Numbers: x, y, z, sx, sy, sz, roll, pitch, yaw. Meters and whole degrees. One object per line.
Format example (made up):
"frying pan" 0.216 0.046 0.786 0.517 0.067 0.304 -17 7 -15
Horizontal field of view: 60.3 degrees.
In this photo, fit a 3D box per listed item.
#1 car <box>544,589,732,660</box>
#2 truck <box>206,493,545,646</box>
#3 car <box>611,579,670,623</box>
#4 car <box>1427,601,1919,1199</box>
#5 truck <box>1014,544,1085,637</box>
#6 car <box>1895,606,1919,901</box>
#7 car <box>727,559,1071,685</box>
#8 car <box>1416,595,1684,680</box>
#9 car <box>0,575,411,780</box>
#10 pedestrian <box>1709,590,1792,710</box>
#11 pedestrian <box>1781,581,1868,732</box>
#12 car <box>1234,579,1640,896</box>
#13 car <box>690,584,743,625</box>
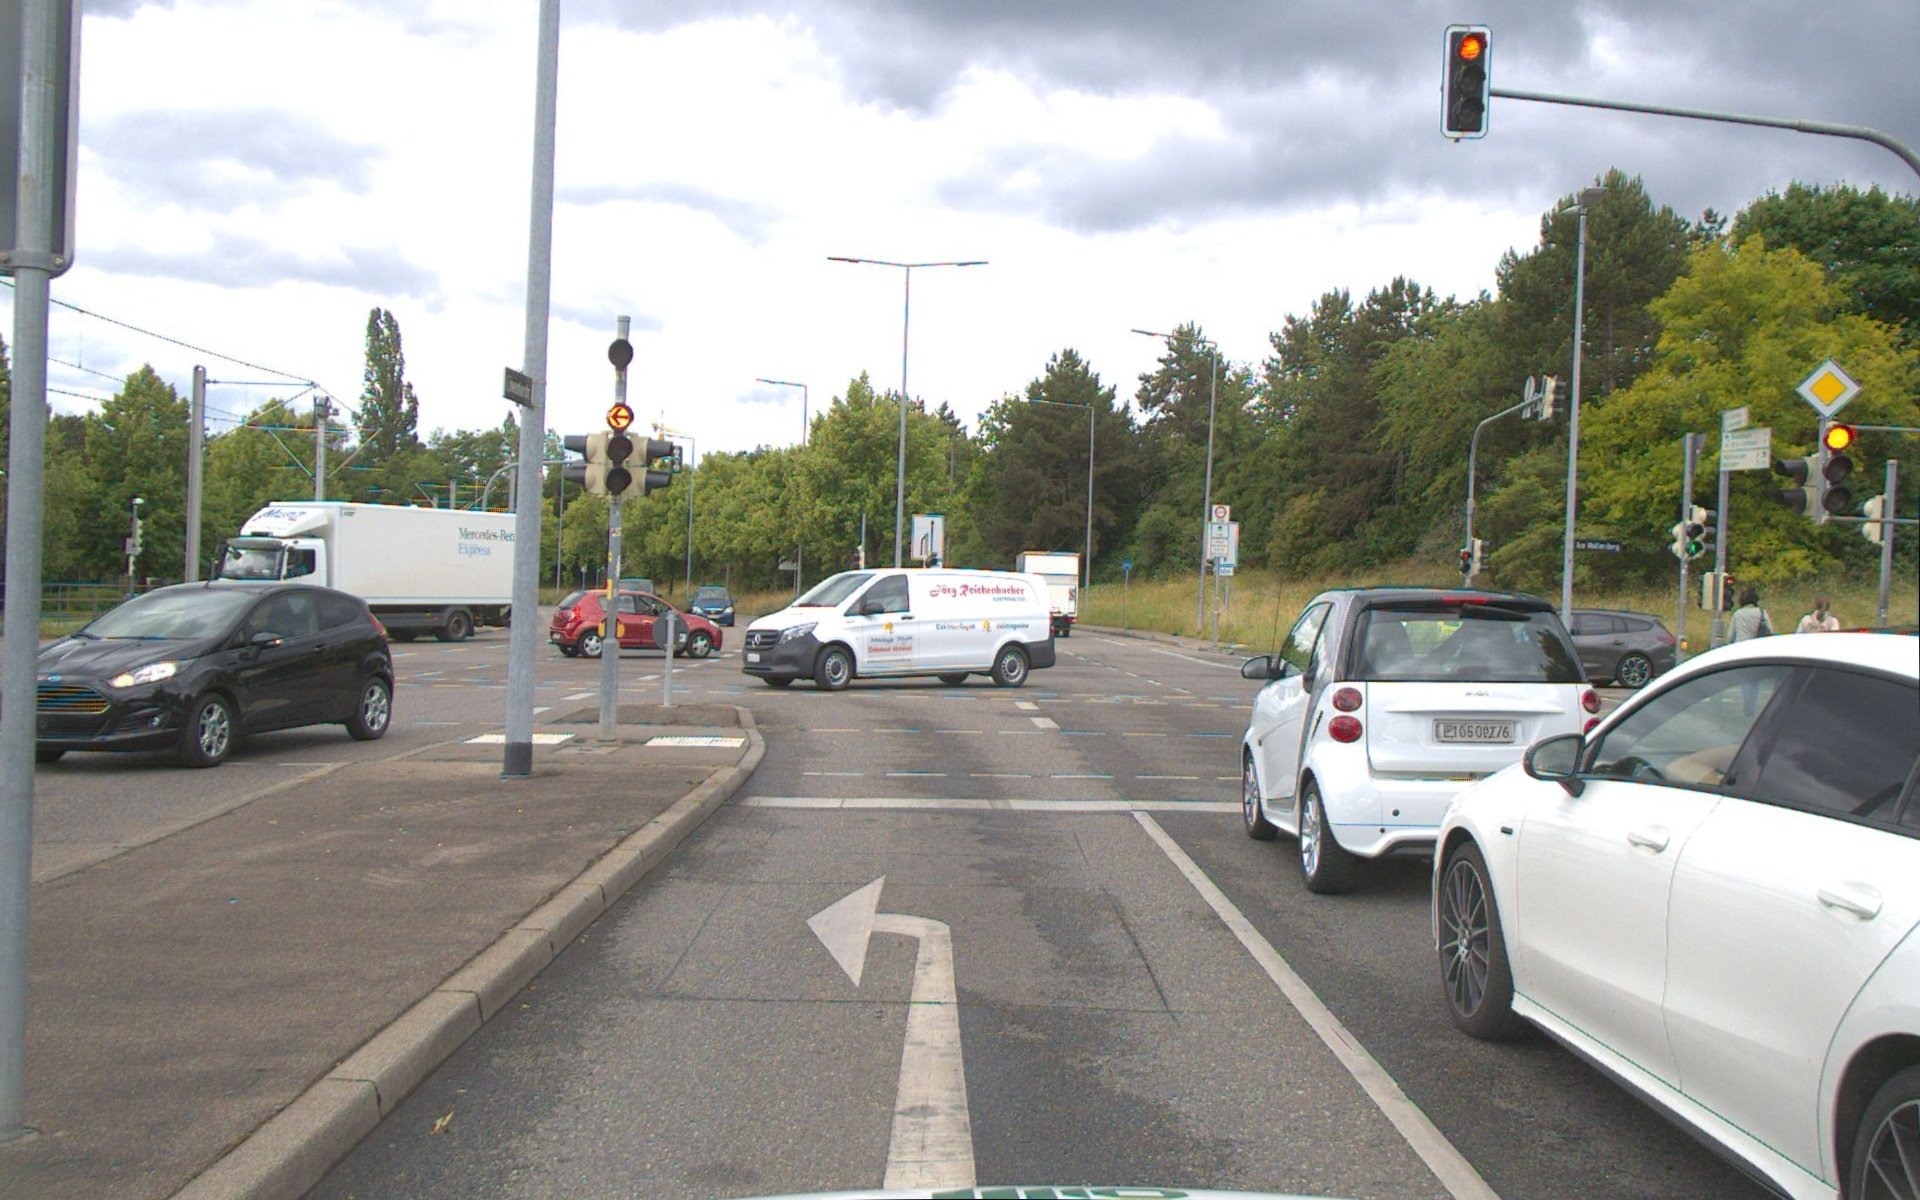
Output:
"car" -7.419 0.547 38.169 3.945 1.543 1.715 0 1 -30
"truck" -15.502 -0.724 44.936 2.608 3.713 9.492 1 0 26
"car" -13.326 0.017 69.191 1.877 1.758 3.998 1 1 -3
"car" 2.627 0.753 4.062 1.686 1.446 4.356 1 0 -1
"truck" 3.678 -0.408 69.538 2.628 3.661 7.264 1 0 0
"car" 5.473 0.763 6.270 1.514 1.428 3.999 0 0 -2
"car" -0.910 0.398 26.667 5.373 1.847 1.975 1 -2 -35
"car" 11.169 0.689 31.559 4.398 1.487 2.000 1 1 0
"car" -6.444 0.554 14.267 1.599 1.505 3.781 1 1 11
"pedestrian" 10.653 0.668 22.308 0.847 1.587 0.517 1 1 -6
"pedestrian" 9.923 0.633 19.001 0.598 1.662 0.614 4 1 7
"car" 2.544 0.663 9.377 1.504 1.530 2.670 1 0 -1
"car" -9.999 0.157 68.192 1.878 1.603 3.997 1 1 -4
